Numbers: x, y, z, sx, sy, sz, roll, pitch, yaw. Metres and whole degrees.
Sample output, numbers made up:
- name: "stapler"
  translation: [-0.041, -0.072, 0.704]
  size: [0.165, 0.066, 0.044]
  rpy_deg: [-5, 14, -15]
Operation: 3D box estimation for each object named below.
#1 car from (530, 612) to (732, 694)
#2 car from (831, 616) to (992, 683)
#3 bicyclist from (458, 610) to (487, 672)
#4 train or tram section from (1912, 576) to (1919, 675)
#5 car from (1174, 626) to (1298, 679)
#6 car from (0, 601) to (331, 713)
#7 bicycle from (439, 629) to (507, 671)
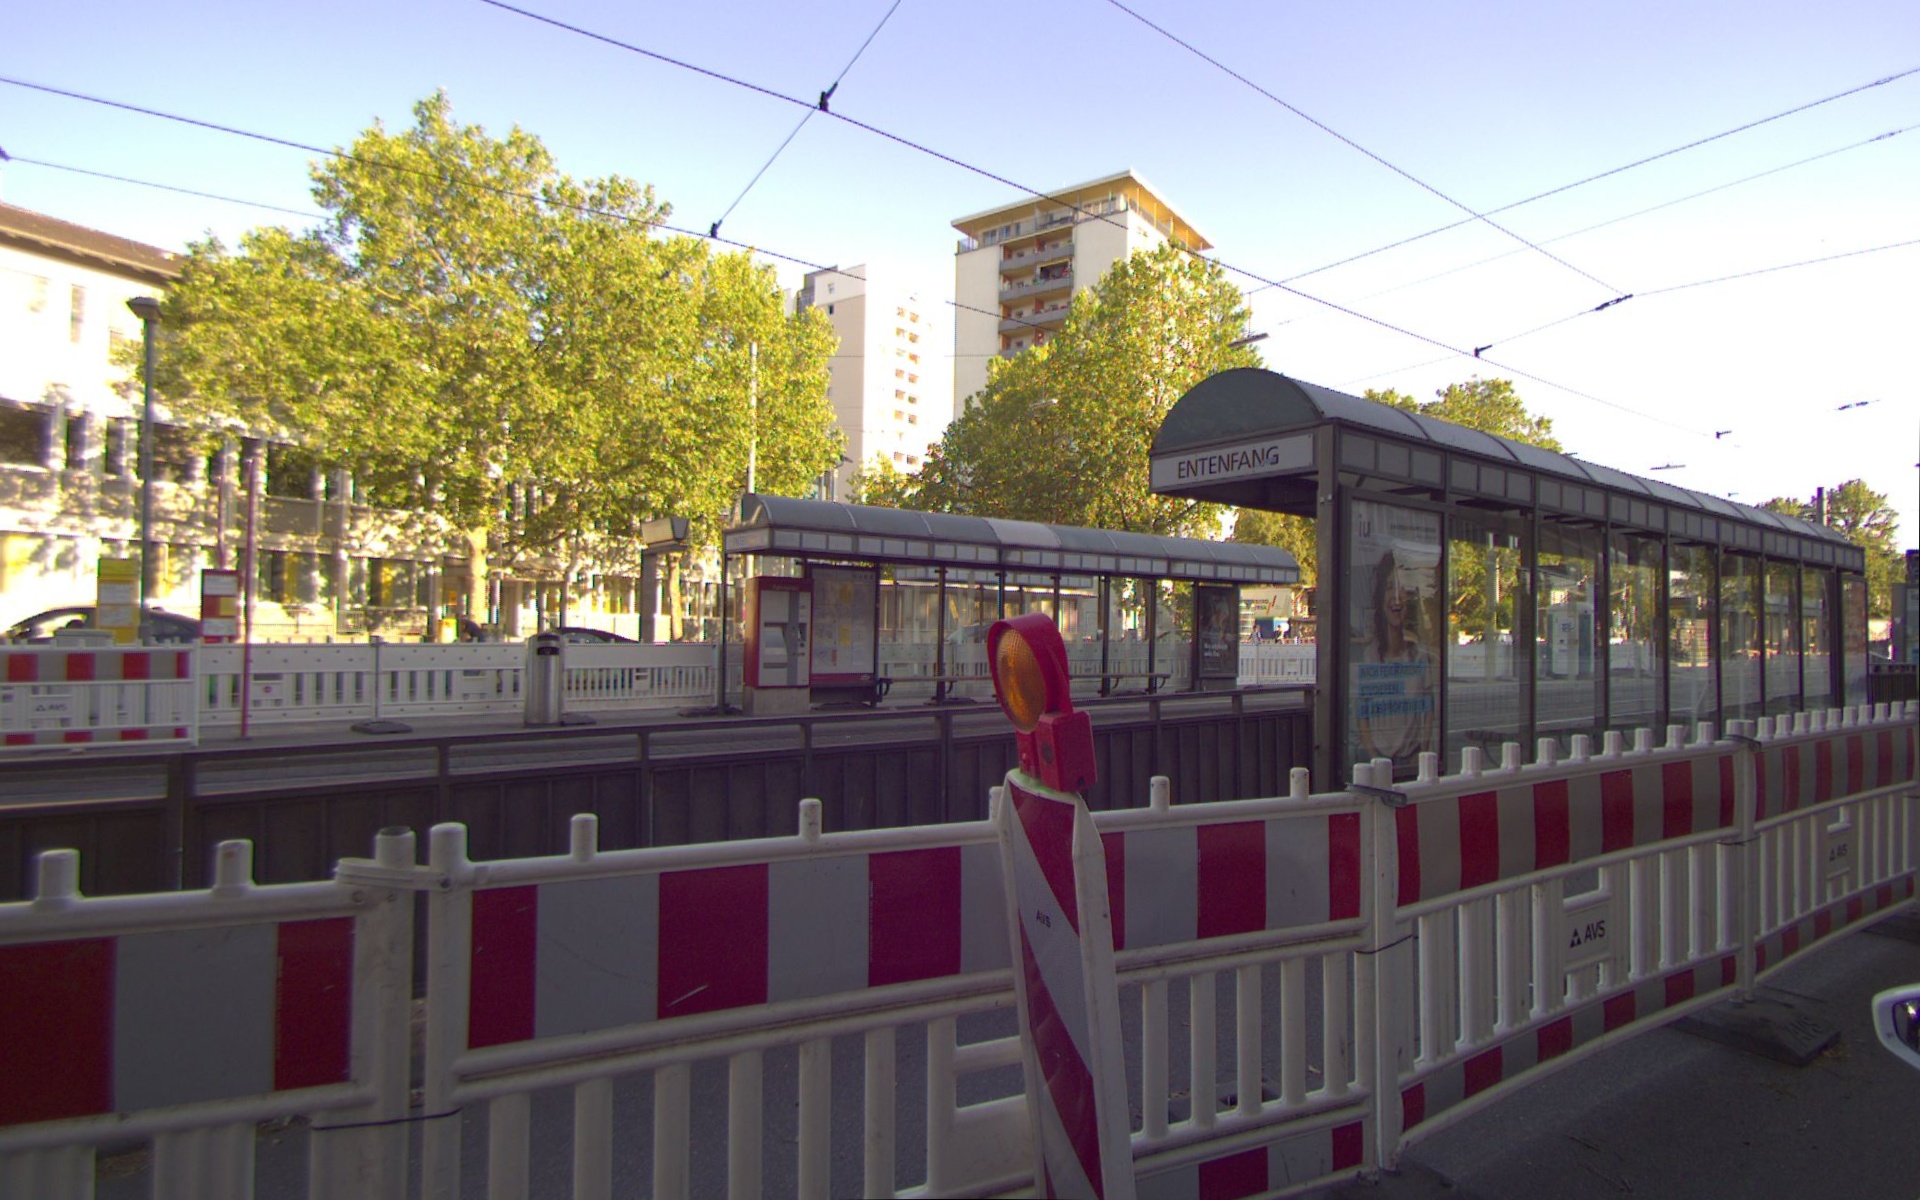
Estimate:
- name: "car"
  translation: [-7.388, 1.168, 22.643]
  size: [3.958, 1.683, 1.982]
  rpy_deg: [2, -2, -33]
- name: "car"
  translation: [-1.285, 1.310, 27.244]
  size: [3.959, 1.683, 1.901]
  rpy_deg: [2, -2, -34]
- name: "bicyclist"
  translation: [-13.105, 1.090, 26.979]
  size: [0.636, 1.635, 0.547]
  rpy_deg: [1, -1, -30]
- name: "train or tram section"
  translation: [40.131, 1.098, 38.804]
  size: [11.656, 3.580, 2.668]
  rpy_deg: [2, 0, -36]
- name: "car"
  translation: [9.387, 1.760, 34.117]
  size: [3.958, 1.683, 1.982]
  rpy_deg: [2, -2, -33]
- name: "car"
  translation: [-13.350, 0.923, 17.031]
  size: [4.511, 1.683, 1.982]
  rpy_deg: [2, -2, -33]
- name: "bicycle"
  translation: [-13.084, 1.343, 26.993]
  size: [1.603, 1.079, 0.546]
  rpy_deg: [2, -2, -31]
